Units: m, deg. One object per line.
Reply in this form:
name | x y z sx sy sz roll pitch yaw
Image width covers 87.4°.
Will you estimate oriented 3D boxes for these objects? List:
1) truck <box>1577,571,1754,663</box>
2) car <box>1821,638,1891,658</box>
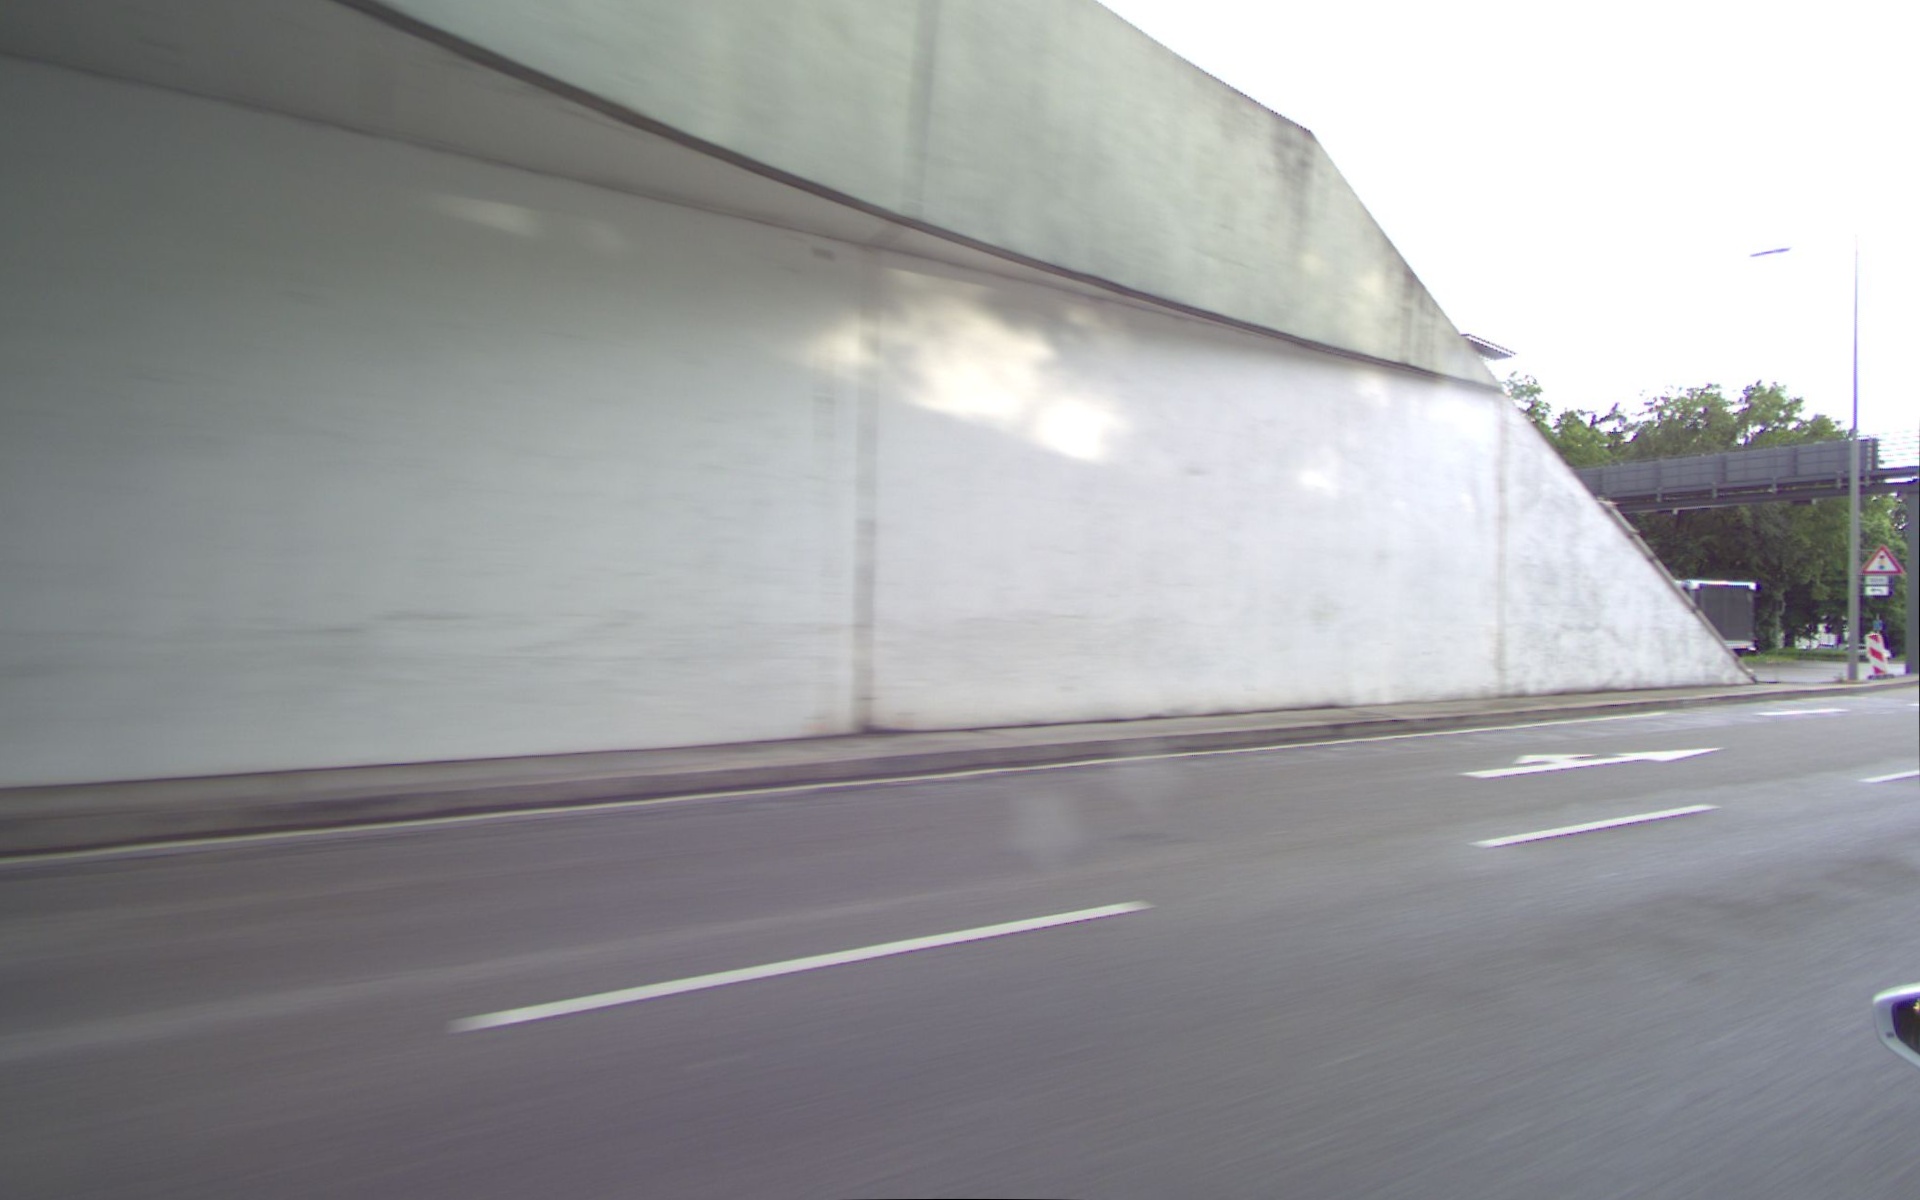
truck | 27.523 0.656 39.120 7.059 3.320 2.785 1 0 -29
car | 74.779 3.990 83.916 1.874 1.534 3.971 1 0 -28
